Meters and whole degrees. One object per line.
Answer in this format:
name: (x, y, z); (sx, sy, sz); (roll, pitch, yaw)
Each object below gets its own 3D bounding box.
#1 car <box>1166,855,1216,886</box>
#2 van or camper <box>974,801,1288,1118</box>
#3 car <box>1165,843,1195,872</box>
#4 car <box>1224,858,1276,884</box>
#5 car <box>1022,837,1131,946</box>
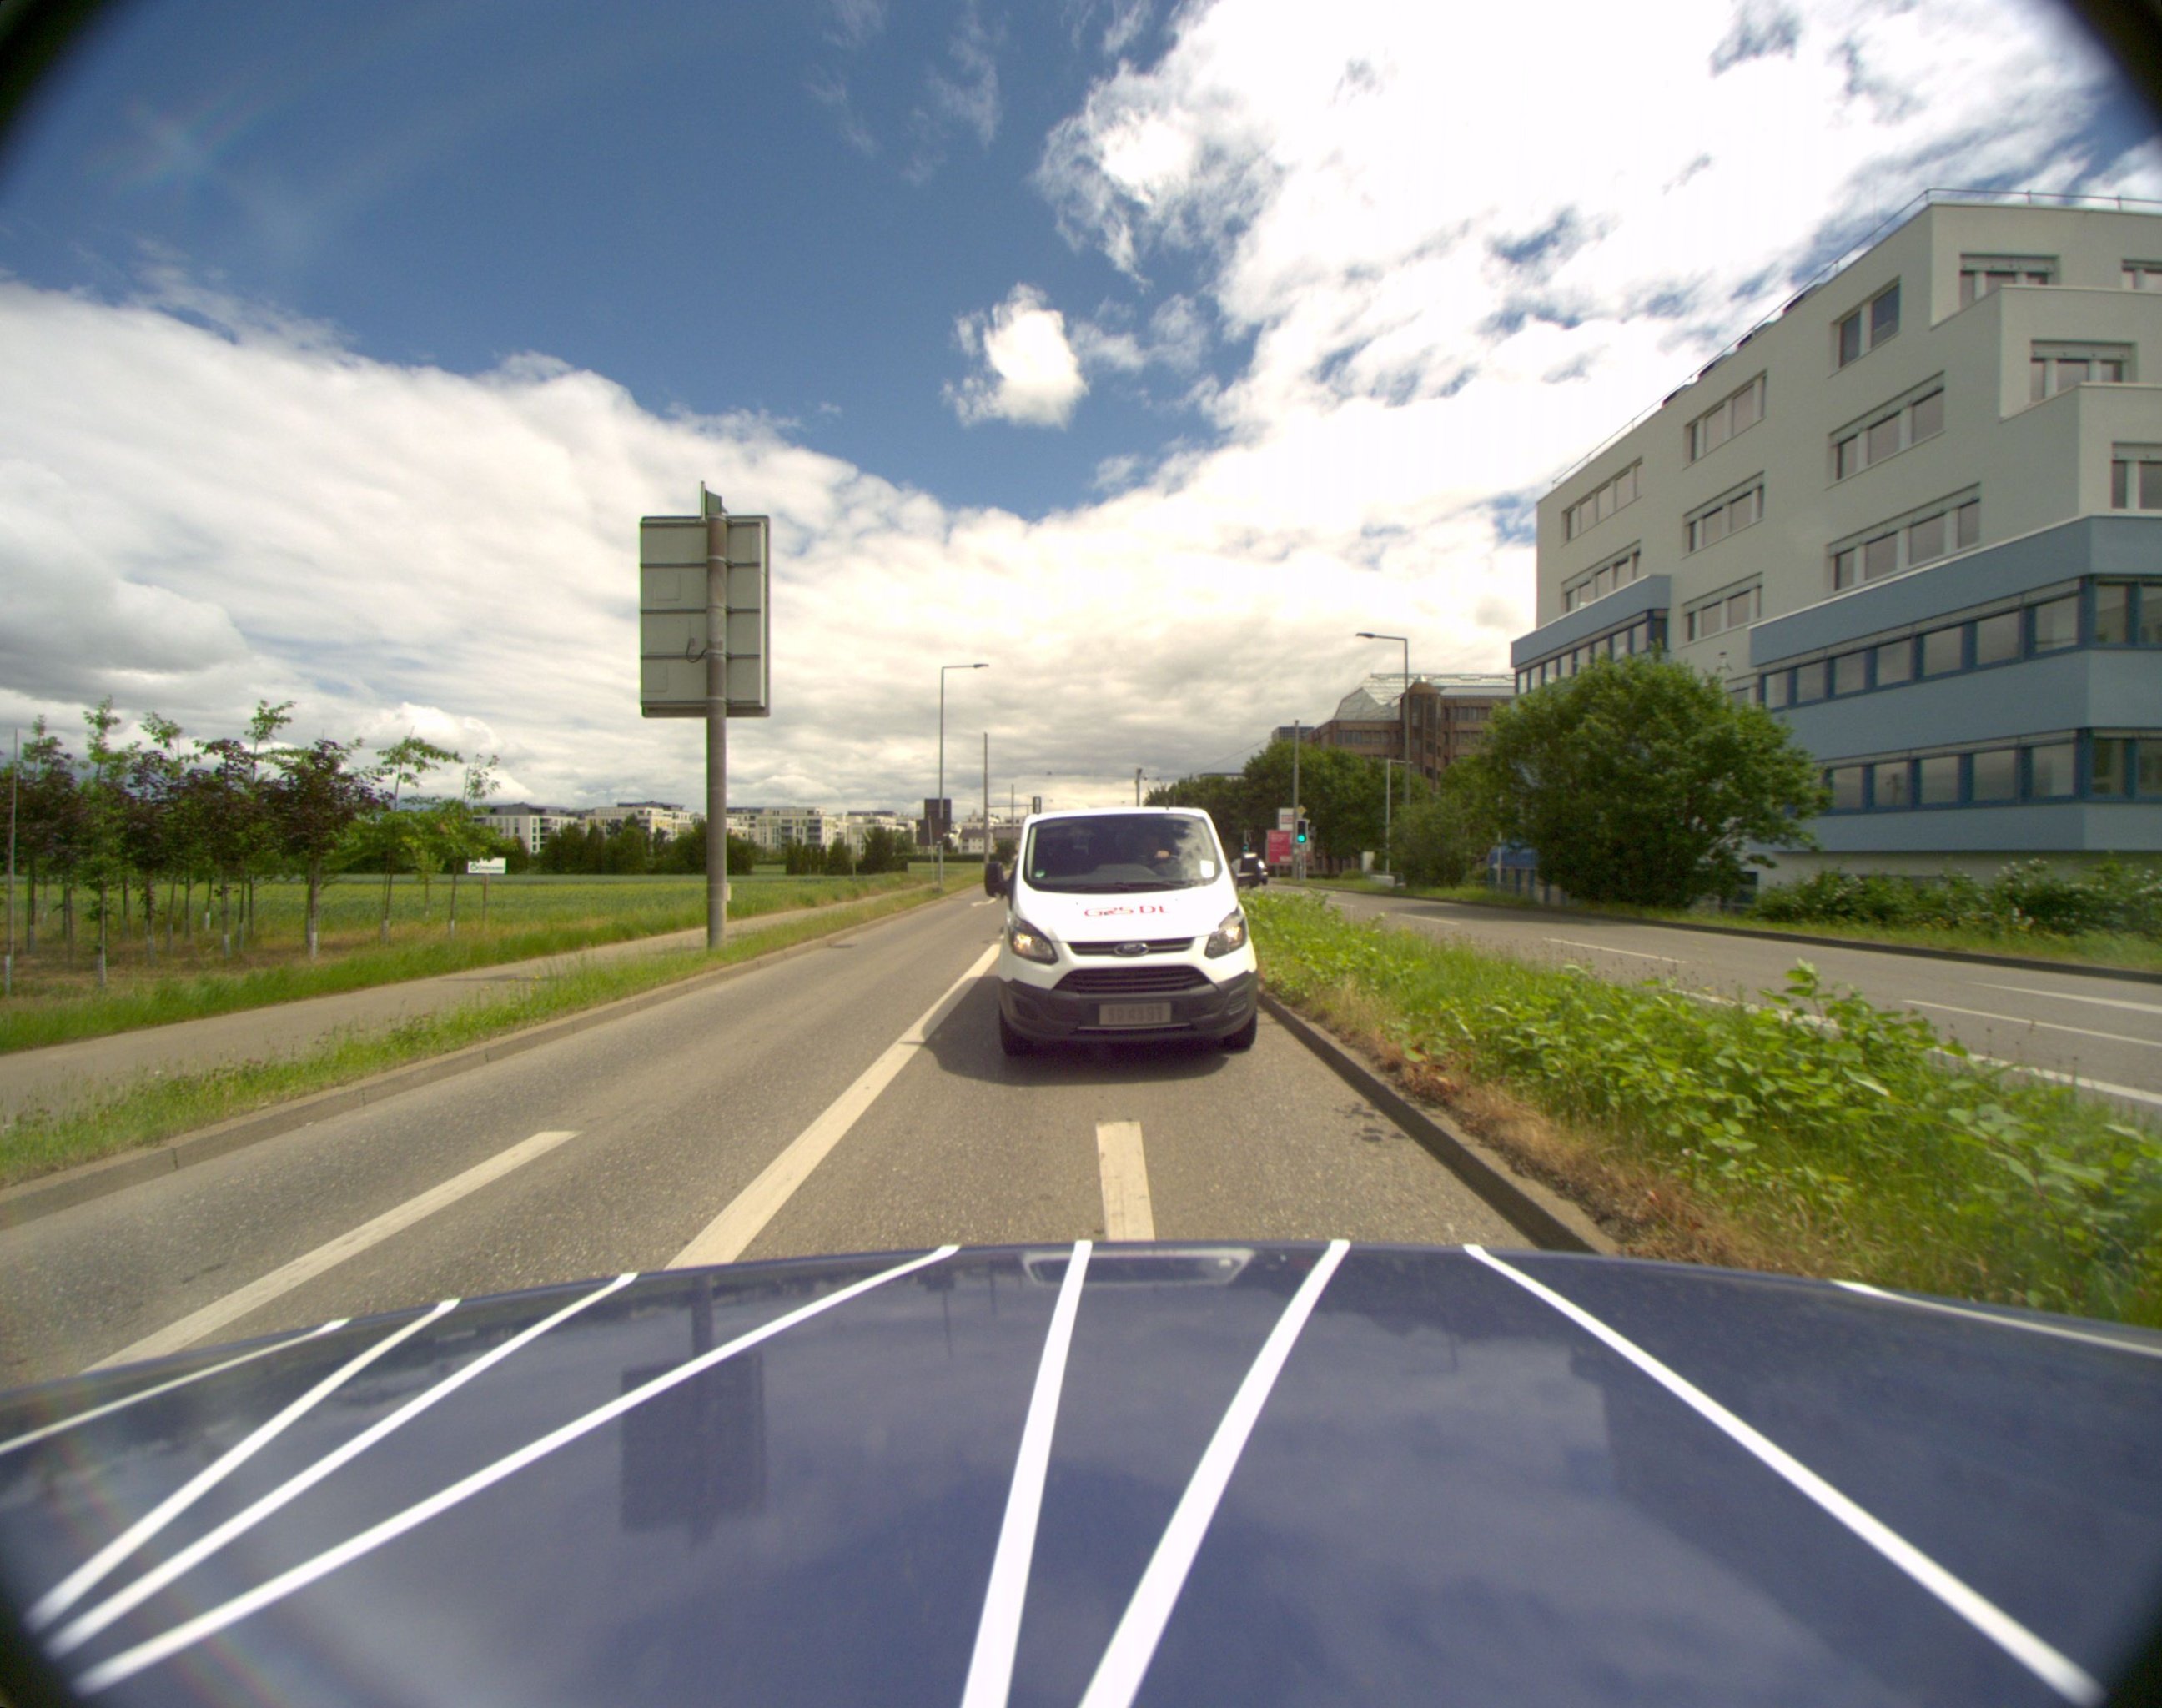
car: (5.702, 0.826, 39.807); (1.940, 1.508, 3.999); (-1, 0, -2)
van or camper: (0.208, 0.666, 7.723); (1.999, 2.002, 5.798); (0, 0, -2)
car: (8.675, 0.279, 67.287); (1.998, 2.398, 5.240); (0, 0, 0)
car: (9.365, 0.888, 42.380); (1.998, 1.346, 4.000); (-1, 0, 1)
car: (-0.058, 0.689, 16.091); (1.998, 2.002, 4.000); (0, 0, 1)
